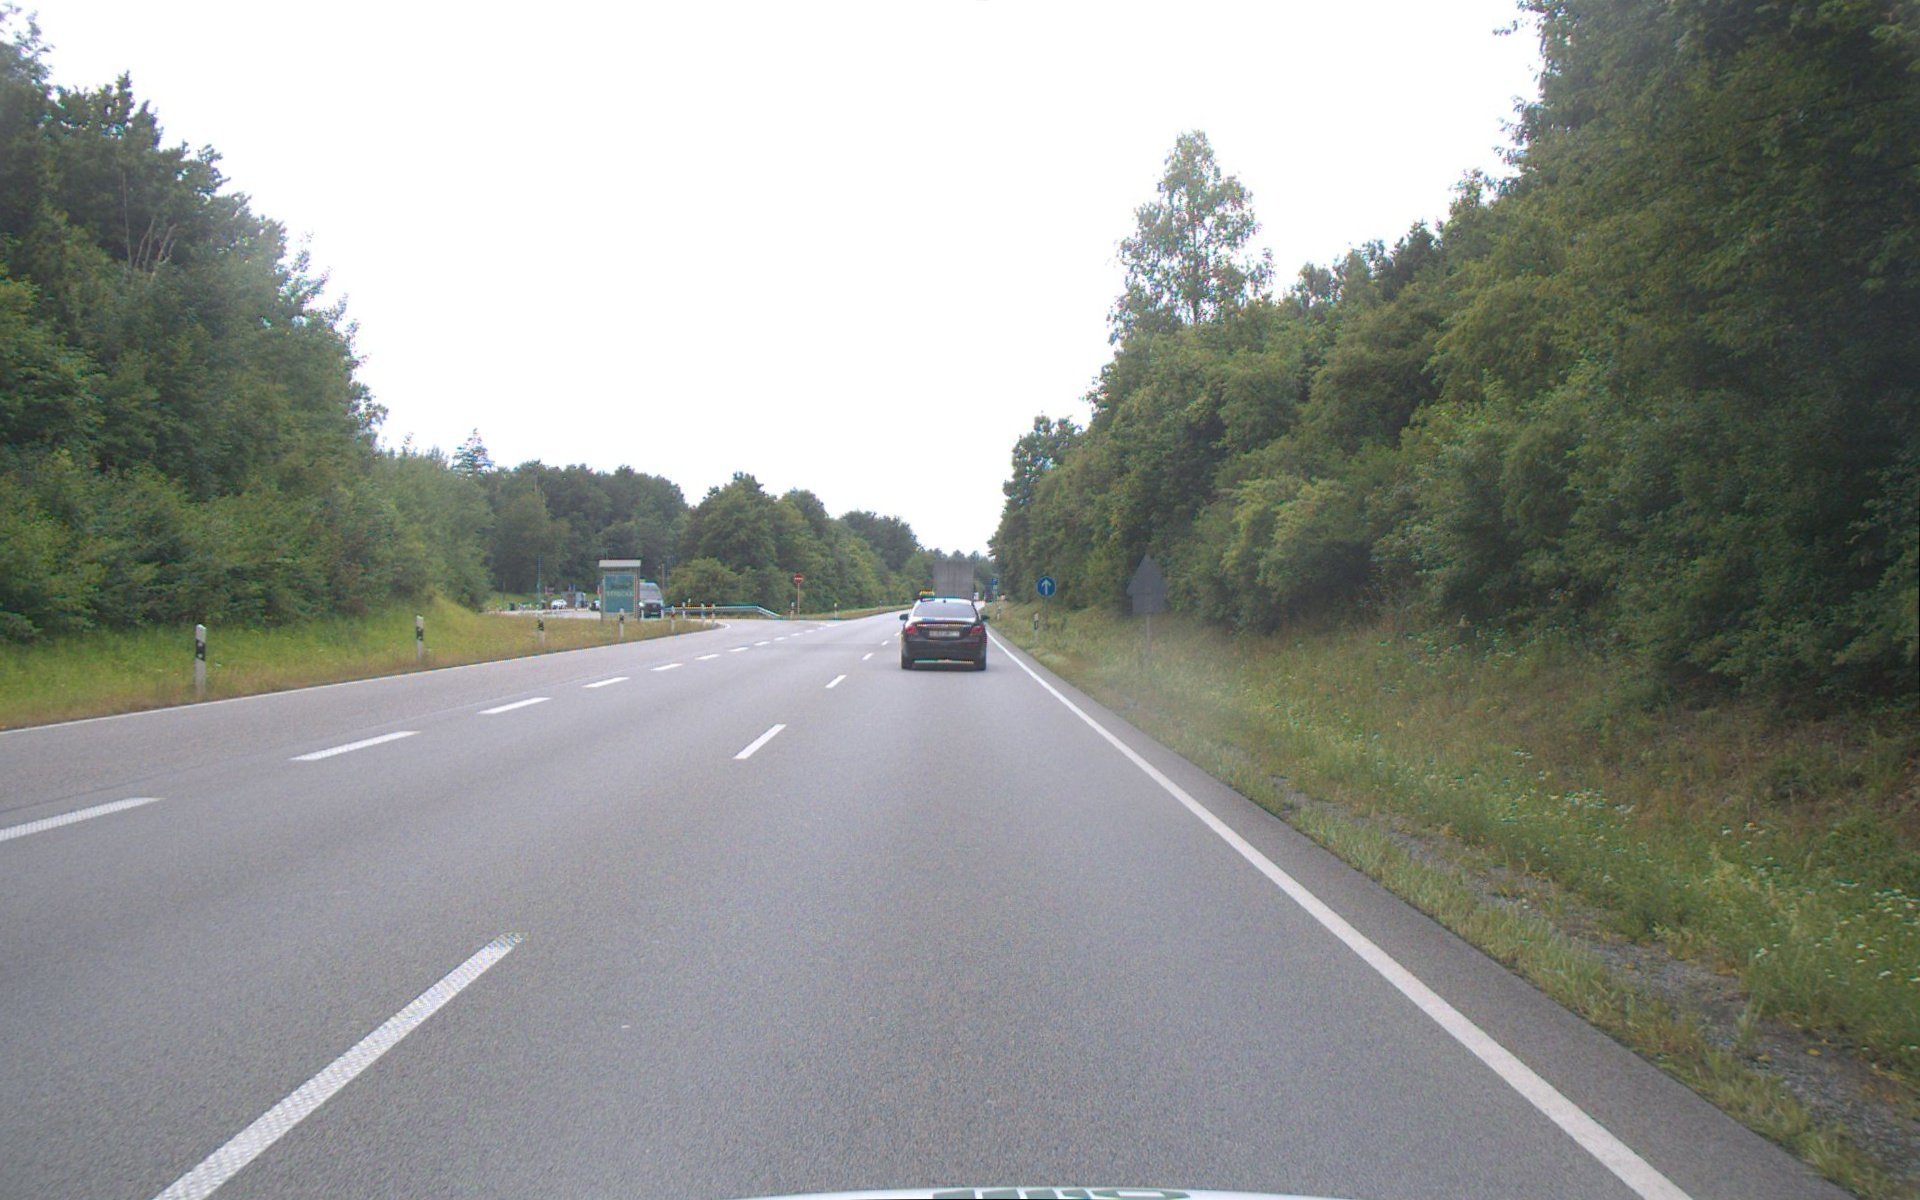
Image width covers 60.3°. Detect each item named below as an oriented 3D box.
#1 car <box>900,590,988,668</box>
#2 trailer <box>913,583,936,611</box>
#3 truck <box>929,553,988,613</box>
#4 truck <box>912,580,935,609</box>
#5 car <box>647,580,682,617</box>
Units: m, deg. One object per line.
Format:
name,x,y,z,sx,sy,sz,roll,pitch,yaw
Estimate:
car,-0.357,0.600,35.754,1.755,1.579,3.999,1,0,-1
trailer,-5.445,-0.443,253.801,3.138,4.138,14.271,1,0,0
truck,0.009,-1.006,107.624,3.212,3.675,11.404,1,0,3
truck,-5.477,-0.769,247.761,3.124,4.133,9.575,1,0,0
car,-21.747,-0.078,121.558,2.216,2.574,7.142,-2,0,-12
